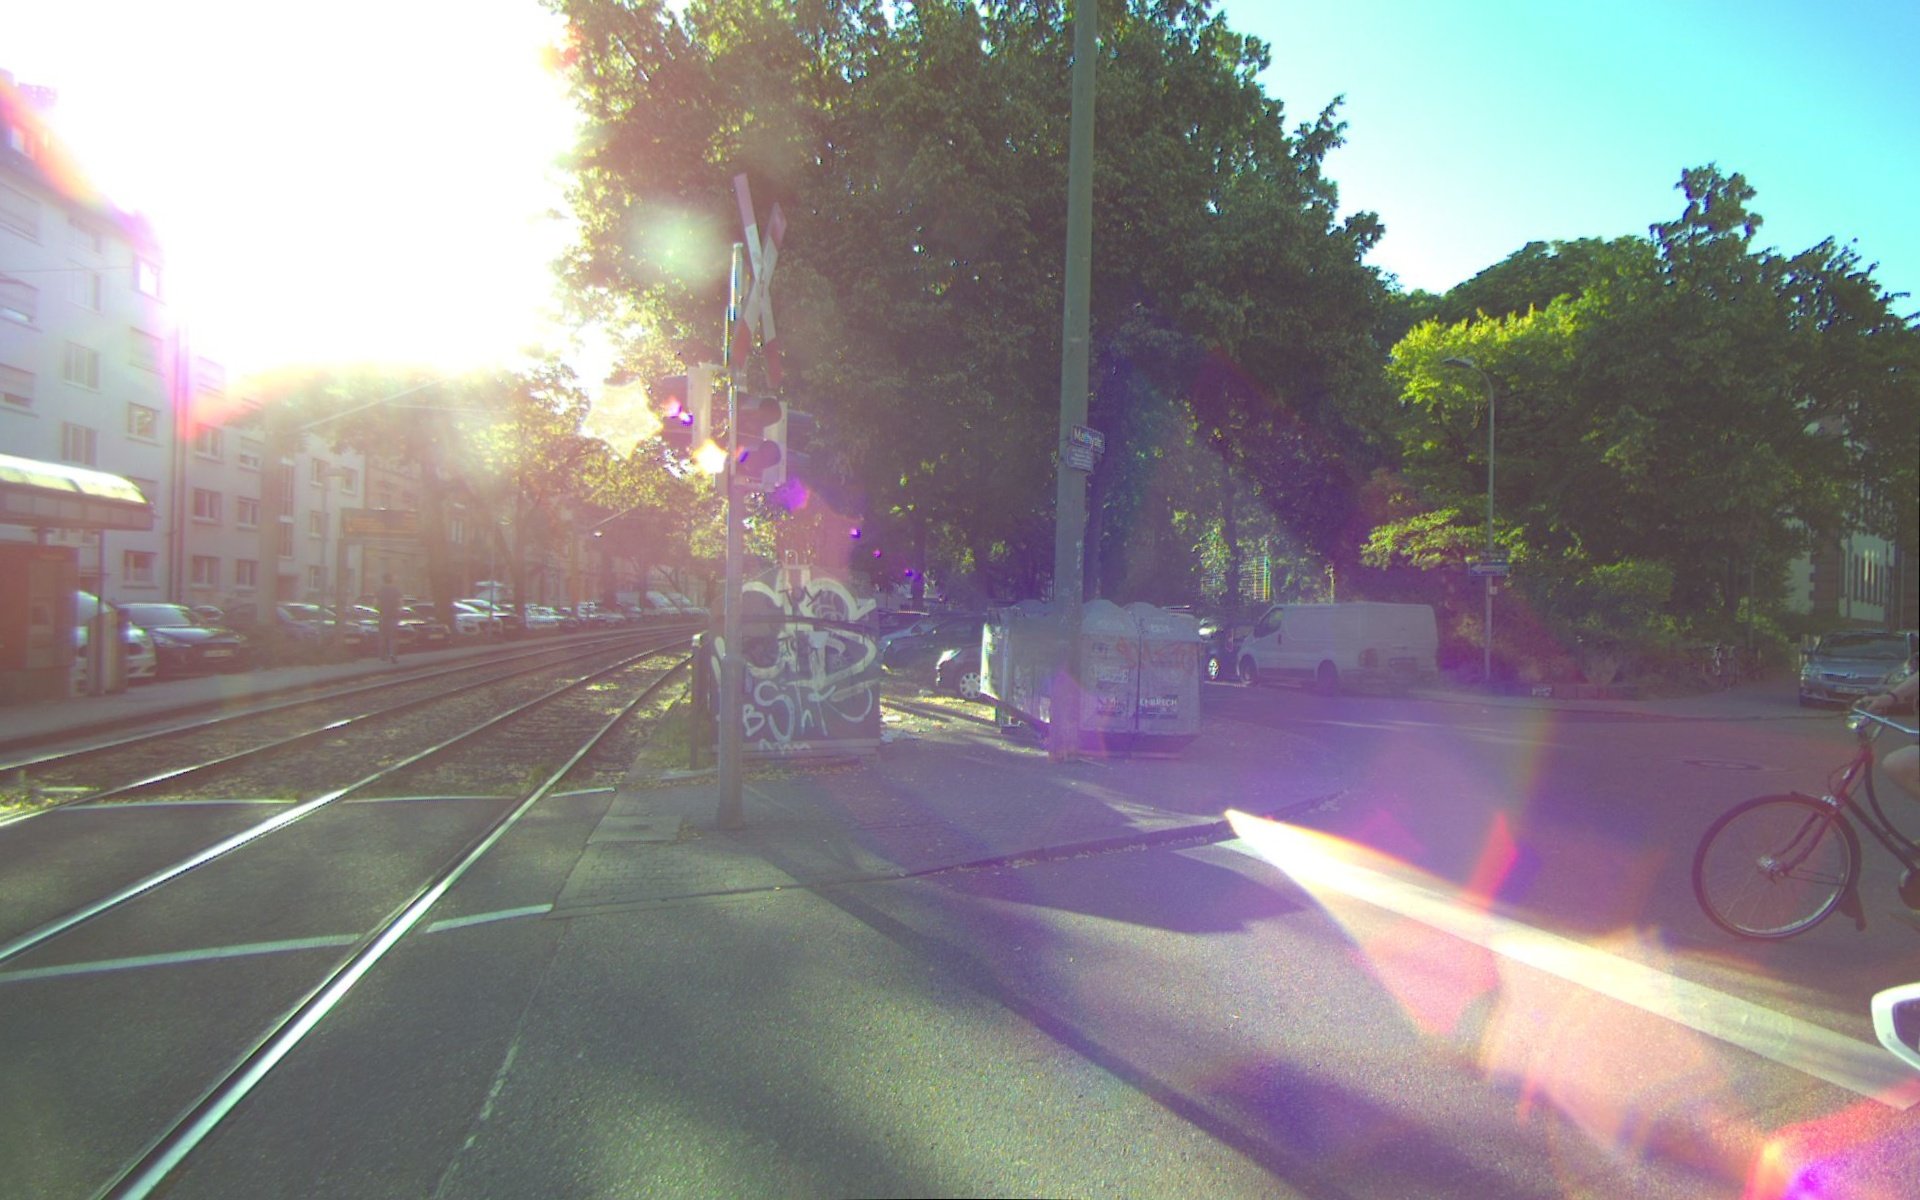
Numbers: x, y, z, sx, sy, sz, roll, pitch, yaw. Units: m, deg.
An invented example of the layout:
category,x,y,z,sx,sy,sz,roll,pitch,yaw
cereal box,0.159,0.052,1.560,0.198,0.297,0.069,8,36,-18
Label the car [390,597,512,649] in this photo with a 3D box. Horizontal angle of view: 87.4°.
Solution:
category,x,y,z,sx,sy,sz,roll,pitch,yaw
car,-18.350,0.845,36.181,4.165,1.673,1.855,-3,0,29

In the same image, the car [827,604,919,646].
category,x,y,z,sx,sy,sz,roll,pitch,yaw
car,-3.974,1.153,45.953,3.752,1.608,1.739,4,-2,12

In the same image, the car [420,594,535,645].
category,x,y,z,sx,sy,sz,roll,pitch,yaw
car,-18.571,0.763,38.672,4.165,1.772,1.855,-3,0,29

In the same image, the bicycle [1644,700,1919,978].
category,x,y,z,sx,sy,sz,roll,pitch,yaw
bicycle,4.375,1.055,4.460,2.081,1.068,0.701,1,0,16

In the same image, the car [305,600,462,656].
category,x,y,z,sx,sy,sz,roll,pitch,yaw
car,-17.286,0.842,30.144,4.157,1.478,1.608,-3,0,17

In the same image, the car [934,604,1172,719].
category,x,y,z,sx,sy,sz,roll,pitch,yaw
car,1.587,0.961,16.765,3.661,1.540,1.608,4,0,15

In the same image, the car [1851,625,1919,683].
category,x,y,z,sx,sy,sz,roll,pitch,yaw
car,27.897,1.582,29.708,3.901,1.498,1.809,2,3,-42

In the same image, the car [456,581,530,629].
category,x,y,z,sx,sy,sz,roll,pitch,yaw
car,-29.637,0.343,63.958,2.512,2.926,5.477,0,0,-5

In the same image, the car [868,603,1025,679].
category,x,y,z,sx,sy,sz,roll,pitch,yaw
car,-0.319,0.999,25.228,3.546,1.583,1.608,4,0,16

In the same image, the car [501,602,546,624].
category,x,y,z,sx,sy,sz,roll,pitch,yaw
car,-30.504,0.891,70.324,1.684,1.465,3.997,0,0,-5

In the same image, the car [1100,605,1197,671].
category,x,y,z,sx,sy,sz,roll,pitch,yaw
car,5.858,1.144,31.682,1.549,1.929,3.892,1,-1,-13

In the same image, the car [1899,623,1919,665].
category,x,y,z,sx,sy,sz,roll,pitch,yaw
car,37.339,1.736,38.332,3.901,1.520,1.809,2,3,-42

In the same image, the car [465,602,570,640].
category,x,y,z,sx,sy,sz,roll,pitch,yaw
car,-19.887,0.931,45.144,4.159,1.492,1.857,-3,0,21

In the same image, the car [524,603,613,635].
category,x,y,z,sx,sy,sz,roll,pitch,yaw
car,-20.806,1.005,53.408,4.159,1.492,1.857,-3,0,21

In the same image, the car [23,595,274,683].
category,x,y,z,sx,sy,sz,roll,pitch,yaw
car,-15.527,0.734,19.253,4.123,1.456,1.701,-3,0,17

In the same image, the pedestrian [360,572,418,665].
category,x,y,z,sx,sy,sz,roll,pitch,yaw
pedestrian,-12.214,0.391,21.522,0.836,1.936,0.835,1,0,-13

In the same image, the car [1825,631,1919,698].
category,x,y,z,sx,sy,sz,roll,pitch,yaw
car,23.876,1.600,25.908,3.901,1.466,1.809,2,3,-42

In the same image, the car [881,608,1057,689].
category,x,y,z,sx,sy,sz,roll,pitch,yaw
car,0.221,1.046,22.309,3.546,1.466,1.608,4,0,15

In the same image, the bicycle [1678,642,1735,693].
category,x,y,z,sx,sy,sz,roll,pitch,yaw
bicycle,17.753,1.574,23.865,2.608,1.116,0.591,2,-1,-42

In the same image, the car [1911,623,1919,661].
category,x,y,z,sx,sy,sz,roll,pitch,yaw
car,41.201,1.810,41.925,3.901,1.520,1.809,2,3,-42

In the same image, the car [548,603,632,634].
category,x,y,z,sx,sy,sz,roll,pitch,yaw
car,-20.802,1.027,56.483,4.159,1.492,1.857,-3,0,21

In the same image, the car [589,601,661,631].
category,x,y,z,sx,sy,sz,roll,pitch,yaw
car,-21.804,1.021,65.351,4.159,1.721,1.857,-3,0,21

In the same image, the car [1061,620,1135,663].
category,x,y,z,sx,sy,sz,roll,pitch,yaw
car,4.970,1.484,36.525,1.549,1.404,3.593,1,-1,-11

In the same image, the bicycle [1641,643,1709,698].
category,x,y,z,sx,sy,sz,roll,pitch,yaw
bicycle,15.731,1.529,22.079,2.606,1.116,0.592,2,-1,-40

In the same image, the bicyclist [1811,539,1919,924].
category,x,y,z,sx,sy,sz,roll,pitch,yaw
bicyclist,4.472,0.563,4.434,0.856,1.609,0.701,1,0,16

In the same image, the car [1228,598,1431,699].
category,x,y,z,sx,sy,sz,roll,pitch,yaw
car,8.142,1.013,22.649,1.918,2.030,4.644,1,-1,-16

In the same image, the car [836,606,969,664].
category,x,y,z,sx,sy,sz,roll,pitch,yaw
car,-1.767,1.092,31.536,3.752,1.516,1.739,4,-2,12

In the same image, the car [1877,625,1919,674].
category,x,y,z,sx,sy,sz,roll,pitch,yaw
car,32.568,1.693,33.983,3.901,1.520,1.809,2,3,-42

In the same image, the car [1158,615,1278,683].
category,x,y,z,sx,sy,sz,roll,pitch,yaw
car,6.894,1.280,27.225,1.550,1.659,3.701,1,-1,-14

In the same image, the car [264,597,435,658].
category,x,y,z,sx,sy,sz,roll,pitch,yaw
car,-16.877,0.754,27.787,4.157,1.478,1.608,-3,0,17

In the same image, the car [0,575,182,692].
category,x,y,z,sx,sy,sz,roll,pitch,yaw
car,-14.707,0.563,16.152,4.160,1.675,1.606,-3,0,23

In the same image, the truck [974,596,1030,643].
category,x,y,z,sx,sy,sz,roll,pitch,yaw
truck,2.240,1.052,54.674,2.330,2.383,4.378,1,-1,-7

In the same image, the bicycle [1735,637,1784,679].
category,x,y,z,sx,sy,sz,roll,pitch,yaw
bicycle,22.506,1.611,28.255,2.606,1.116,0.591,2,-1,-41

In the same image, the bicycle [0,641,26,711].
category,x,y,z,sx,sy,sz,roll,pitch,yaw
bicycle,-11.215,0.876,11.109,0.442,0.794,1.640,1,0,-9

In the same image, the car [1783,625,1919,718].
category,x,y,z,sx,sy,sz,roll,pitch,yaw
car,19.124,1.439,21.349,4.259,1.636,1.809,2,3,-42

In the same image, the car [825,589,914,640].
category,x,y,z,sx,sy,sz,roll,pitch,yaw
car,-4.997,0.790,55.251,4.413,2.508,1.819,3,-2,23

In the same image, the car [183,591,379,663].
category,x,y,z,sx,sy,sz,roll,pitch,yaw
car,-16.410,0.655,24.290,4.157,1.528,1.608,-3,0,17

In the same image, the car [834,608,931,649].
category,x,y,z,sx,sy,sz,roll,pitch,yaw
car,-3.299,1.233,43.140,3.752,1.440,1.739,4,-2,12

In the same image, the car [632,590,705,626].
category,x,y,z,sx,sy,sz,roll,pitch,yaw
car,-23.246,0.654,80.159,5.166,2.606,2.273,-3,0,21

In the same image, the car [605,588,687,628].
category,x,y,z,sx,sy,sz,roll,pitch,yaw
car,-22.380,0.551,71.534,5.166,2.606,2.273,-3,0,21

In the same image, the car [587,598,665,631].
category,x,y,z,sx,sy,sz,roll,pitch,yaw
car,-20.117,0.876,60.484,4.159,1.721,1.857,-3,0,21

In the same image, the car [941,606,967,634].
category,x,y,z,sx,sy,sz,roll,pitch,yaw
car,-0.464,1.471,73.562,1.546,1.967,3.598,1,-1,-5
